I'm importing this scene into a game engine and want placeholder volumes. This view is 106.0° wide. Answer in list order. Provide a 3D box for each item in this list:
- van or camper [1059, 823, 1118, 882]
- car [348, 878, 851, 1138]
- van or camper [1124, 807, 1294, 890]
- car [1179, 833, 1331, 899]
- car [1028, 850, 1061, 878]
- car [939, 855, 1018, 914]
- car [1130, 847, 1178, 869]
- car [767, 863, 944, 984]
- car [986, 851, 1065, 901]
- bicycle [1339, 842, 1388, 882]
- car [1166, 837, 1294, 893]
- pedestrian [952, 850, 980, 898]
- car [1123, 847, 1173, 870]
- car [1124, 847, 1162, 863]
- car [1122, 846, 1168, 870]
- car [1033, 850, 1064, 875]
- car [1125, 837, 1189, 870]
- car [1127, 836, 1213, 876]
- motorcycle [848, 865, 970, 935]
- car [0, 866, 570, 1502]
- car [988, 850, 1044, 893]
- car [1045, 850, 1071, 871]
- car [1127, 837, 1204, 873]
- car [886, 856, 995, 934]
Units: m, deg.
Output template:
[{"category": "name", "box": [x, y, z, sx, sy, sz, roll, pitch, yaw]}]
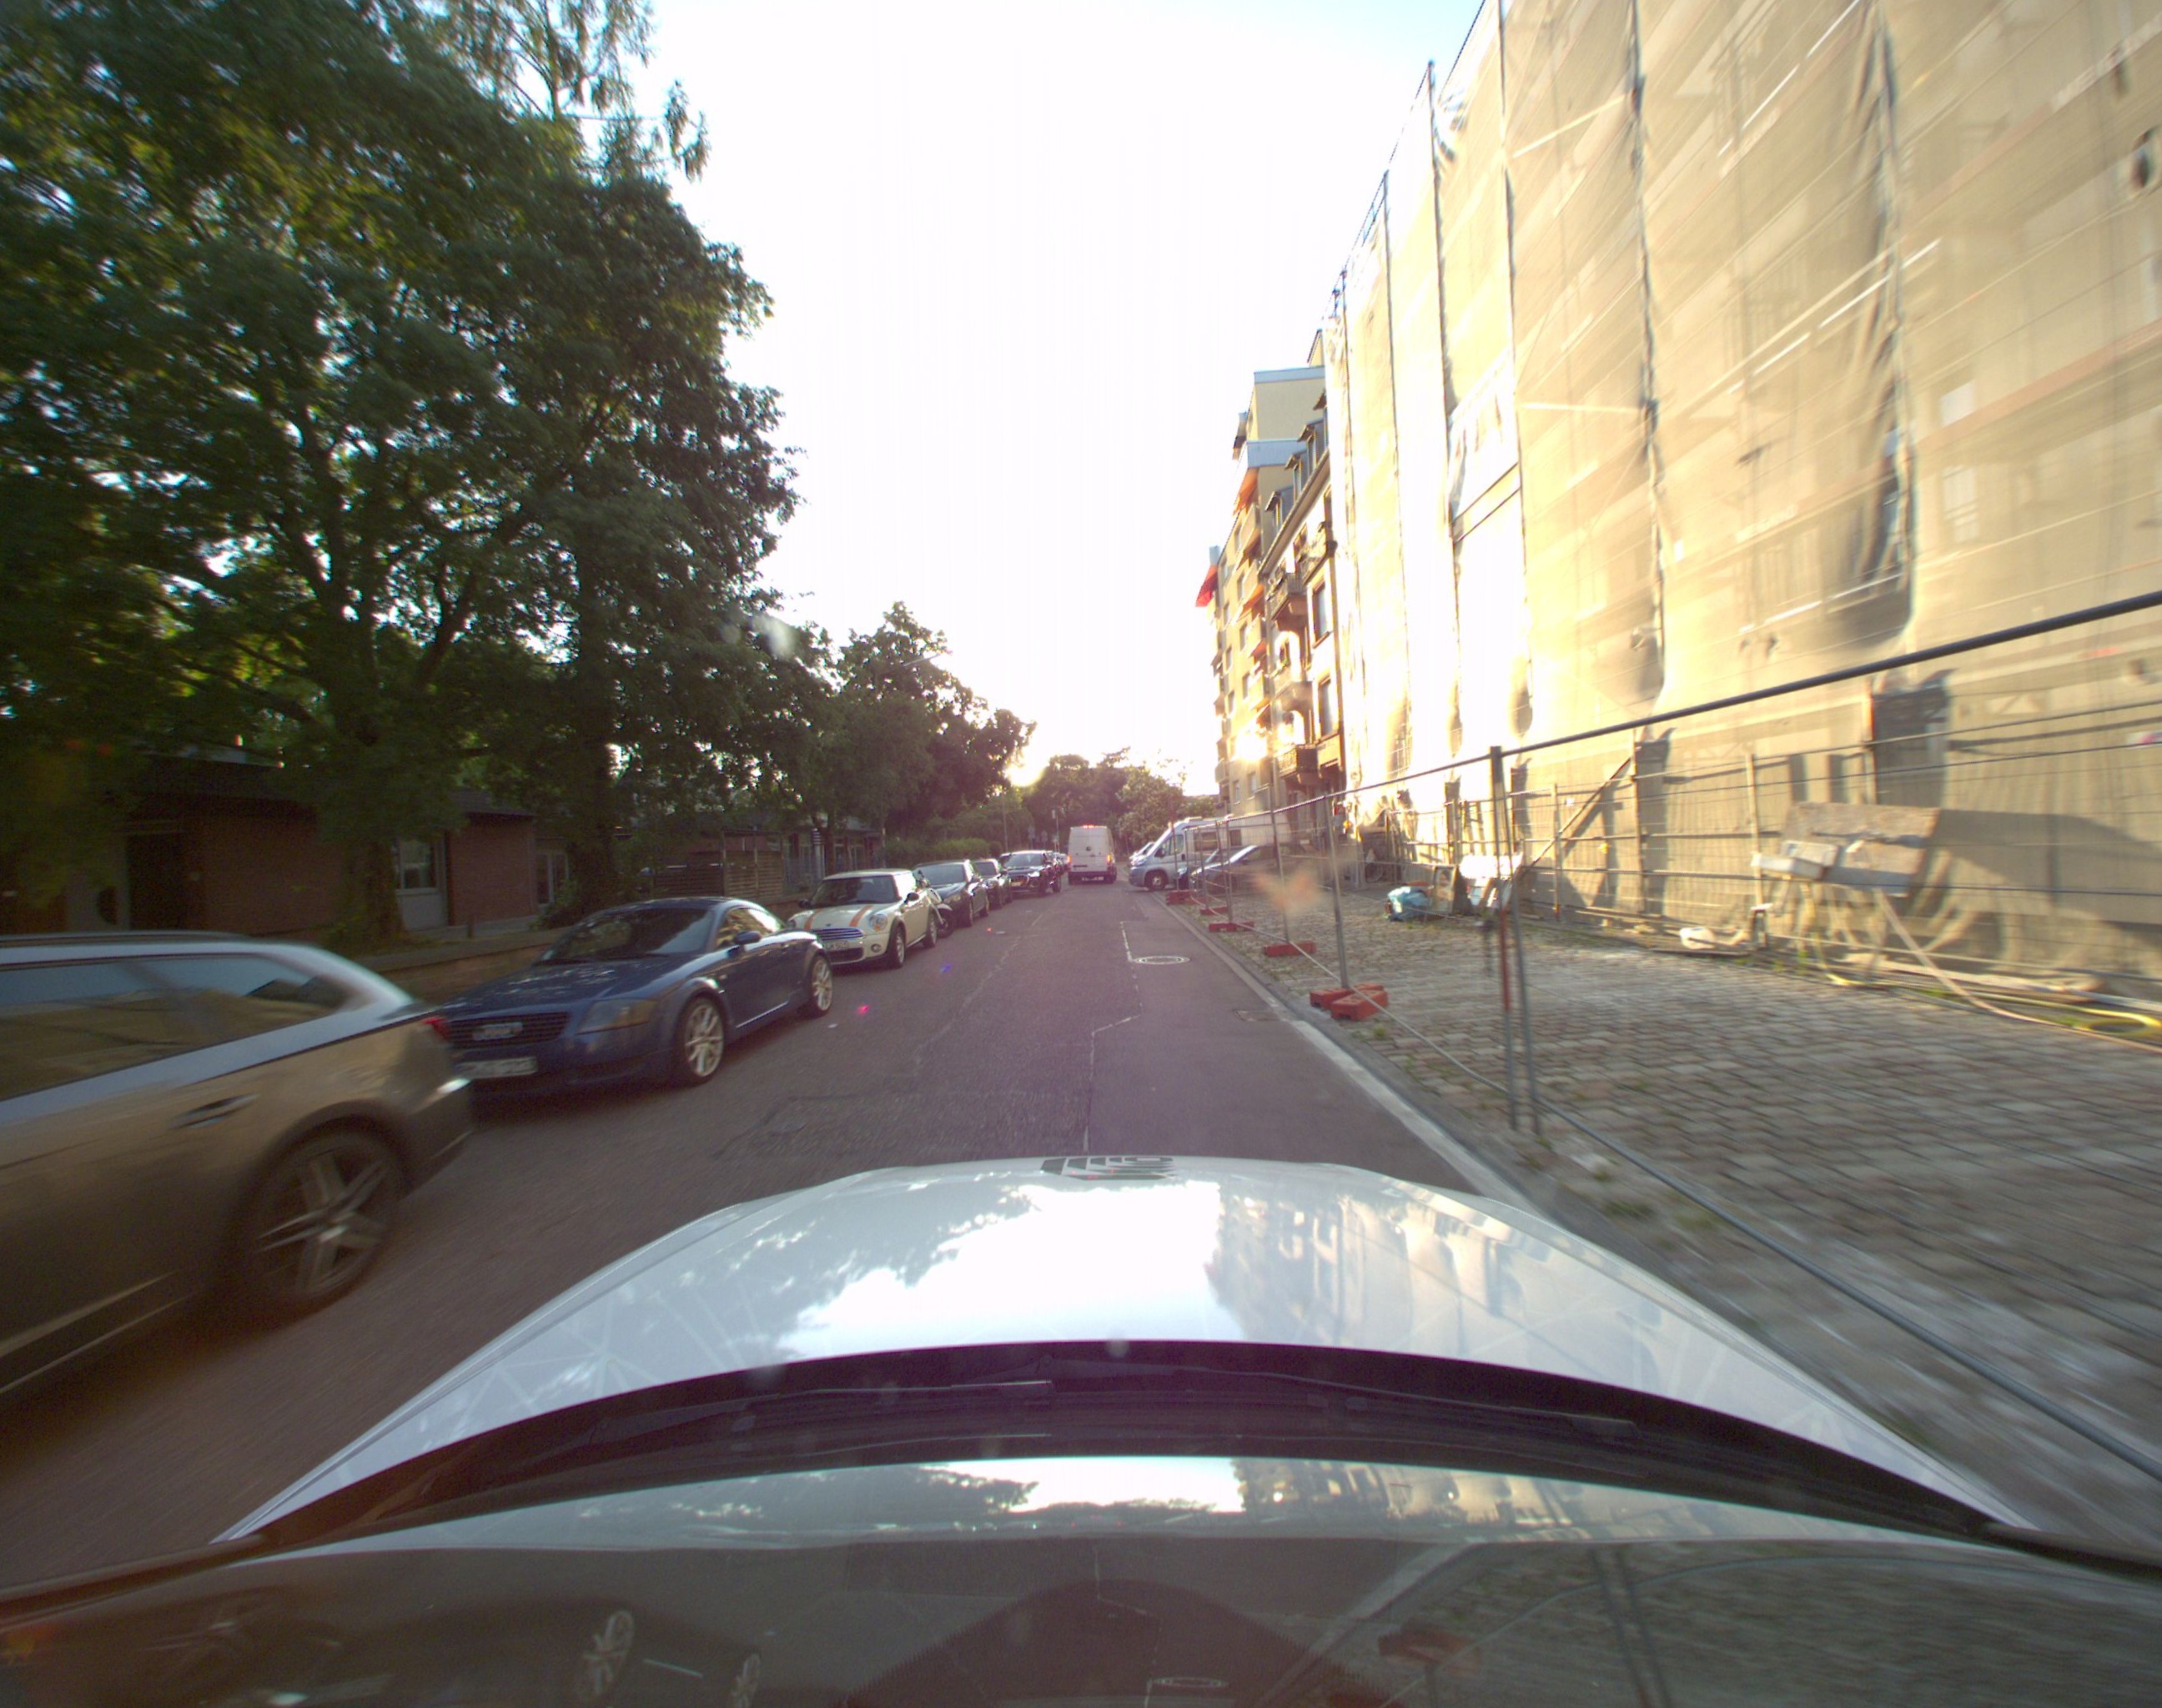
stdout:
[{"category": "van or camper", "box": [0.462, -0.063, 38.723, 2.443, 2.547, 6.088, -1, 0, 3]}, {"category": "car", "box": [-3.491, 0.994, 6.986, 1.653, 1.313, 4.156, -4, 0, 2]}, {"category": "van or camper", "box": [4.614, -0.198, 30.143, 5.909, 2.769, 2.109, -2, 0, 0]}, {"category": "car", "box": [5.146, 0.342, 24.454, 3.979, 1.515, 2.017, -5, 0, -4]}, {"category": "car", "box": [-2.312, 0.606, 51.522, 1.989, 1.662, 3.996, -2, 0, -3]}, {"category": "car", "box": [-2.980, 0.846, 24.458, 1.631, 1.478, 3.995, -4, 0, 2]}, {"category": "car", "box": [6.285, 0.345, 70.307, 3.972, 1.728, 2.001, -2, 0, 1]}, {"category": "car", "box": [-3.357, 0.958, 12.875, 1.596, 1.431, 3.803, -5, 0, 0]}, {"category": "car", "box": [-1.888, 0.728, 29.227, 1.794, 1.569, 4.576, -3, 0, 9]}, {"category": "bicycle", "box": [8.663, 0.235, 25.037, 0.629, 1.168, 2.031, -2, 0, -5]}, {"category": "car", "box": [4.907, 0.378, 27.202, 3.920, 1.486, 1.788, -5, -1, 2]}, {"category": "pedestrian", "box": [-4.444, 0.764, 31.488, 0.935, 1.830, 0.787, -2, 0, 0]}, {"category": "car", "box": [5.498, 0.367, 67.278, 3.972, 1.728, 2.001, -2, 0, 1]}, {"category": "car", "box": [7.026, 0.132, 92.580, 3.977, 1.618, 1.998, -2, 0, -3]}, {"category": "car", "box": [5.692, 0.381, 72.970, 3.971, 2.013, 2.001, -2, 0, 2]}, {"category": "car", "box": [-2.203, 0.551, 56.270, 1.987, 1.618, 3.999, -2, 0, 0]}, {"category": "car", "box": [5.483, -0.035, 59.280, 4.481, 2.230, 2.032, -2, 0, 0]}, {"category": "car", "box": [5.104, 0.095, 47.122, 4.691, 2.145, 2.000, -2, 0, -1]}, {"category": "motorcycle", "box": [-3.394, 0.905, 16.101, 2.148, 1.303, 0.883, -2, 0, 15]}, {"category": "car", "box": [-3.656, 0.901, 1.838, 1.853, 1.538, 4.759, -4, 0, 1]}, {"category": "car", "box": [-2.814, 0.722, 35.971, 1.776, 1.631, 4.004, -5, 0, 3]}, {"category": "car", "box": [-1.871, 0.520, 66.761, 1.987, 1.618, 3.999, -2, 0, 0]}, {"category": "car", "box": [5.408, 0.068, 52.543, 4.691, 2.145, 2.000, -2, 0, -1]}, {"category": "car", "box": [-3.179, 0.870, 19.293, 1.710, 1.496, 4.360, -4, 0, 0]}]
